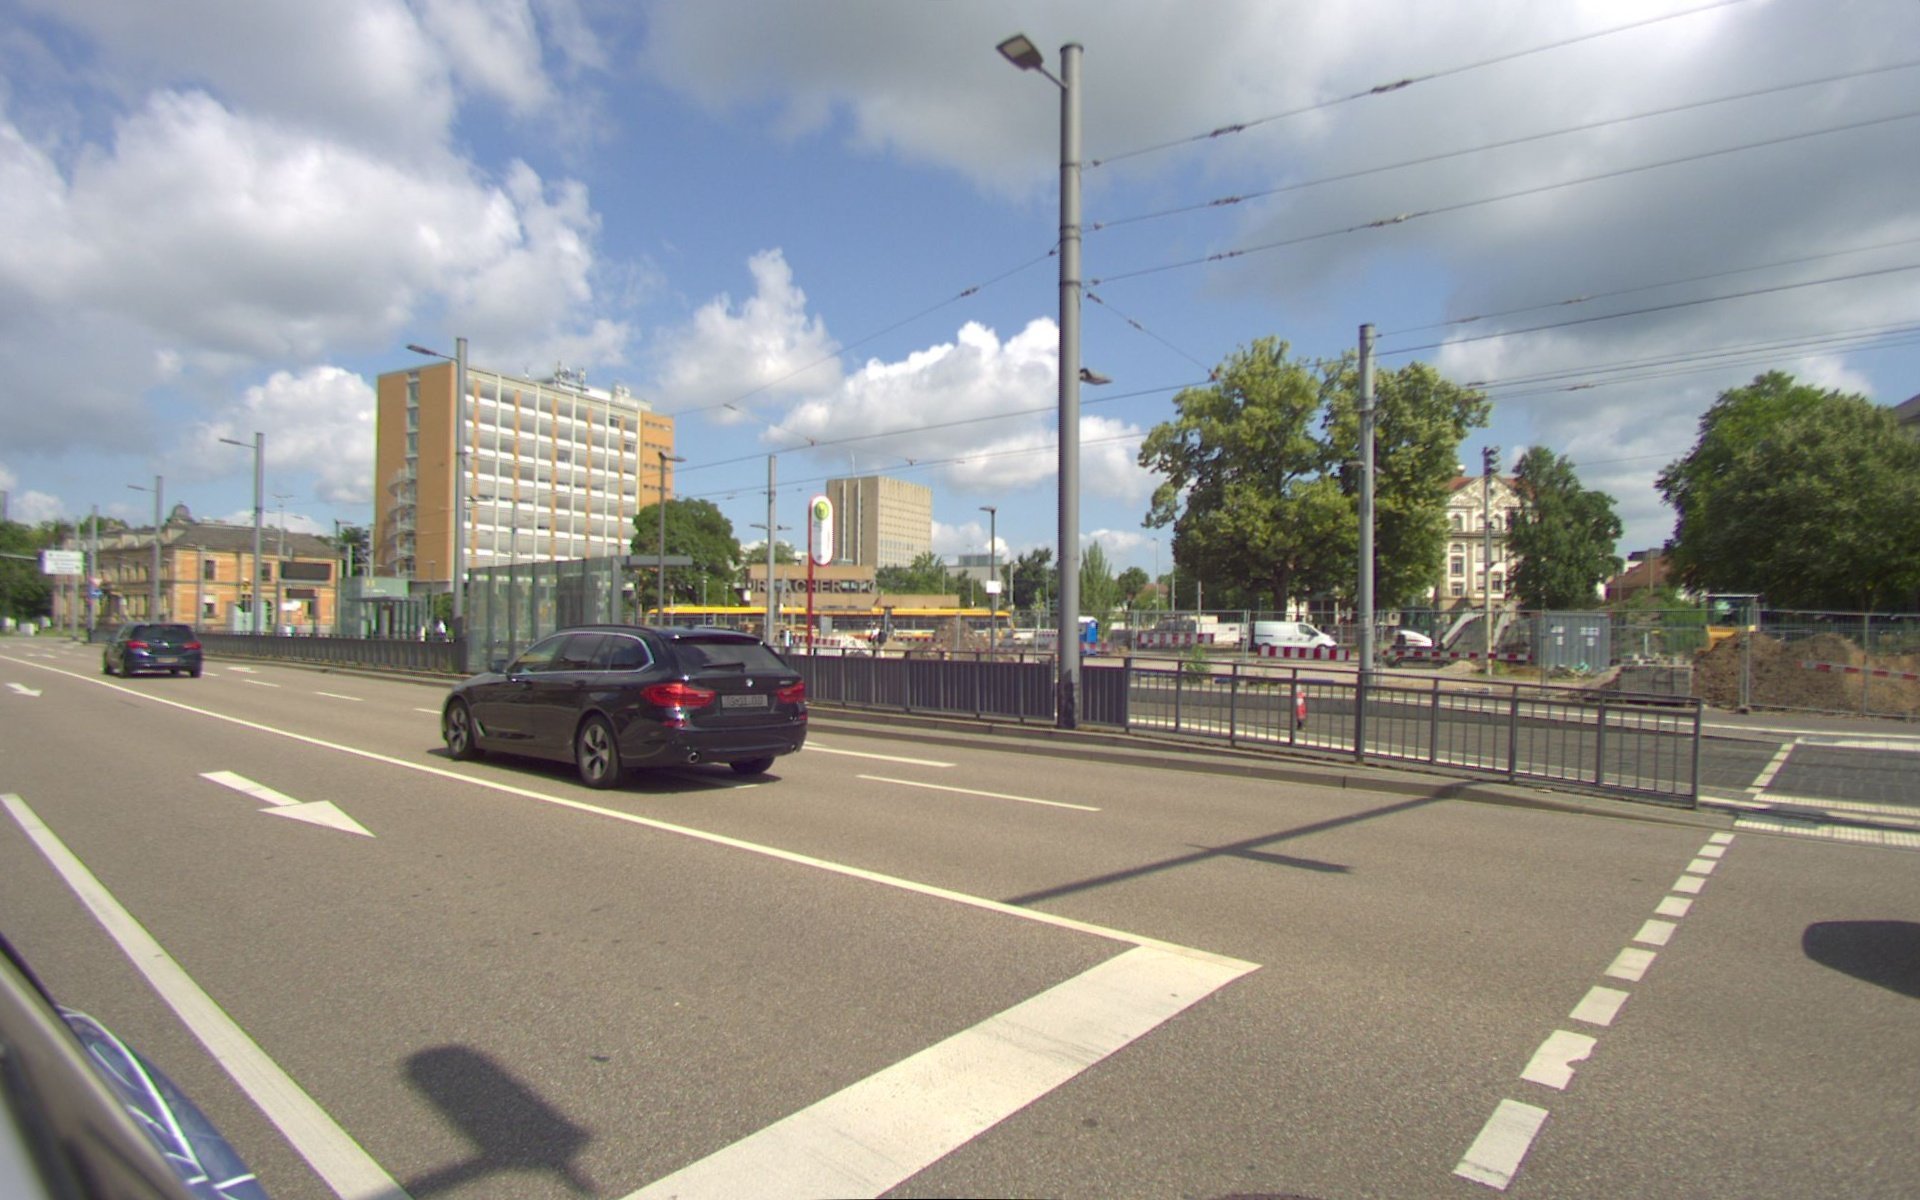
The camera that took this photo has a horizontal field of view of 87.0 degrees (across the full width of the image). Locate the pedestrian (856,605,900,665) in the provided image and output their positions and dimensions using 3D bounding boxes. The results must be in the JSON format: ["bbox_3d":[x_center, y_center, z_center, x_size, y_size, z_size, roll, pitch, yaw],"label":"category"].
[{"bbox_3d":[-2.821,1.206,34.805,1.053,2.029,1.051,3,-3,-44],"label":"pedestrian"}]

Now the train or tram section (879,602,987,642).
[{"bbox_3d":[-2.749,2.216,100.483,10.449,3.507,3.327,-1,-3,-4],"label":"train or tram section"}]

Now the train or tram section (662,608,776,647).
[{"bbox_3d":[-23.521,2.724,99.083,10.449,3.507,3.327,-1,-3,-4],"label":"train or tram section"}]

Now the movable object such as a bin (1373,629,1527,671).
[{"bbox_3d":[18.582,1.855,38.464,5.133,1.514,1.980,-1,-2,30],"label":"movable object such as a bin"}]

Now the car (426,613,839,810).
[{"bbox_3d":[-3.453,0.950,10.204,4.556,1.564,1.799,-1,-3,40],"label":"car"}]

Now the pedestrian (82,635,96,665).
[{"bbox_3d":[-58.600,3.345,68.102,0.514,2.029,0.498,-1,-3,31],"label":"pedestrian"}]

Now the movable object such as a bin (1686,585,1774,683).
[{"bbox_3d":[24.923,1.110,32.916,1.995,2.934,5.093,-1,-2,35],"label":"movable object such as a bin"}]

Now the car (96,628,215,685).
[{"bbox_3d":[-21.551,1.466,27.080,3.741,1.428,1.895,-1,-3,42],"label":"car"}]

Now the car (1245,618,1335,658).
[{"bbox_3d":[18.896,2.208,58.108,4.593,2.154,1.935,-2,-2,10],"label":"car"}]

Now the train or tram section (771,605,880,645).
[{"bbox_3d":[-13.191,2.480,99.783,10.449,3.507,3.327,-1,-3,-4],"label":"train or tram section"}]

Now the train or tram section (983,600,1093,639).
[{"bbox_3d":[7.746,1.974,101.174,10.449,3.507,3.327,-1,-3,-4],"label":"train or tram section"}]
